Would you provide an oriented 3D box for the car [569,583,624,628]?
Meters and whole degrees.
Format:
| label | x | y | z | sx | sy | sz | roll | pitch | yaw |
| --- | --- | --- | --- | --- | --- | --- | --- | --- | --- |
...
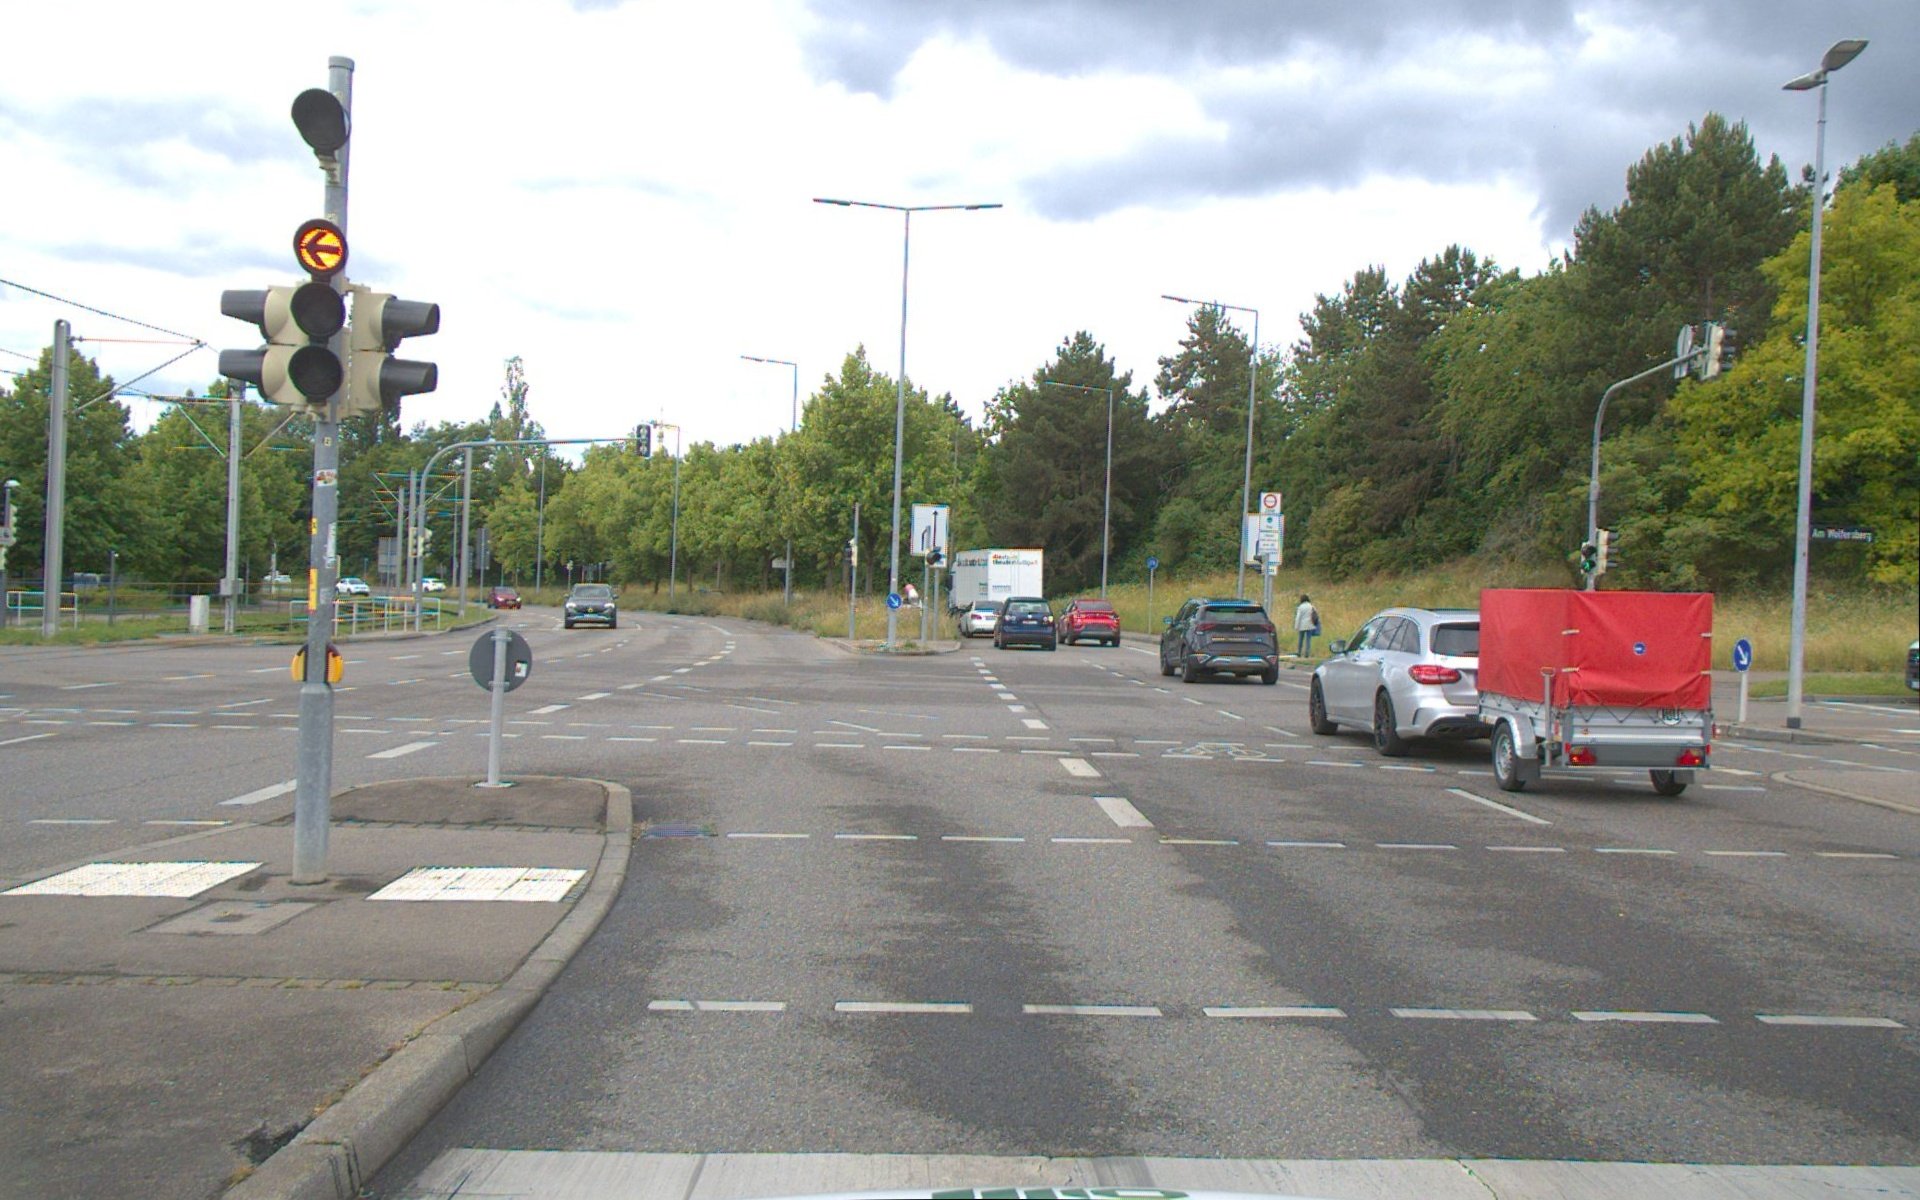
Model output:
| label | x | y | z | sx | sy | sz | roll | pitch | yaw |
| --- | --- | --- | --- | --- | --- | --- | --- | --- | --- |
| car | -13.265 | 0.170 | 60.465 | 1.745 | 1.573 | 4.215 | 1 | 0 | -10 |

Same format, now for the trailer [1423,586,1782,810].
| label | x | y | z | sx | sy | sz | roll | pitch | yaw |
| --- | --- | --- | --- | --- | --- | --- | --- | --- | --- |
| trailer | 5.211 | 0.722 | 13.832 | 1.729 | 1.644 | 3.043 | 1 | 0 | -2 |

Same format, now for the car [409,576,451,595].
| label | x | y | z | sx | sy | sz | roll | pitch | yaw |
| --- | --- | --- | --- | --- | --- | --- | --- | --- | --- |
| car | -51.639 | -1.407 | 161.059 | 3.922 | 1.780 | 1.991 | 1 | 0 | 38 |

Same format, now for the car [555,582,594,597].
| label | x | y | z | sx | sy | sz | roll | pitch | yaw |
| --- | --- | --- | --- | --- | --- | --- | --- | --- | --- |
| car | -41.041 | -1.106 | 176.211 | 1.744 | 1.573 | 4.018 | 1 | 0 | 29 |

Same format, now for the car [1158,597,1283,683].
| label | x | y | z | sx | sy | sz | roll | pitch | yaw |
| --- | --- | --- | --- | --- | --- | --- | --- | --- | --- |
| car | 5.177 | 0.757 | 33.382 | 1.742 | 1.573 | 4.023 | 1 | 0 | -2 |

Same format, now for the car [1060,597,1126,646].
| label | x | y | z | sx | sy | sz | roll | pitch | yaw |
| --- | --- | --- | --- | --- | --- | --- | --- | --- | --- |
| car | 4.583 | 0.723 | 57.575 | 1.742 | 1.573 | 4.022 | 1 | 0 | -3 |

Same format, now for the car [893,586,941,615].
| label | x | y | z | sx | sy | sz | roll | pitch | yaw |
| --- | --- | --- | --- | --- | --- | --- | --- | --- | --- |
| car | -2.471 | 0.020 | 93.403 | 1.749 | 1.573 | 4.007 | 1 | 0 | -16 |

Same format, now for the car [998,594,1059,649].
| label | x | y | z | sx | sy | sz | roll | pitch | yaw |
| --- | --- | --- | --- | --- | --- | --- | --- | --- | --- |
| car | 2.156 | 0.622 | 50.971 | 1.740 | 1.573 | 4.027 | 1 | 0 | 4 |

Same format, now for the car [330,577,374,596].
| label | x | y | z | sx | sy | sz | roll | pitch | yaw |
| --- | --- | --- | --- | --- | --- | --- | --- | --- | --- |
| car | -53.809 | -1.217 | 146.404 | 4.346 | 1.657 | 1.824 | 0 | 0 | 42 |

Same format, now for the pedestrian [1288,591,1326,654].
| label | x | y | z | sx | sy | sz | roll | pitch | yaw |
| --- | --- | --- | --- | --- | --- | --- | --- | --- | --- |
| pedestrian | 9.290 | 0.604 | 44.309 | 0.797 | 1.656 | 0.790 | 1 | 0 | -1 |

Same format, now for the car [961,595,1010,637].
| label | x | y | z | sx | sy | sz | roll | pitch | yaw |
| --- | --- | --- | --- | --- | --- | --- | --- | --- | --- |
| car | 0.997 | 0.605 | 66.430 | 1.742 | 1.573 | 4.023 | 1 | 0 | -2 |

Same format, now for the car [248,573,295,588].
| label | x | y | z | sx | sy | sz | roll | pitch | yaw |
| --- | --- | --- | --- | --- | --- | --- | --- | --- | --- |
| car | -72.123 | -2.077 | 173.283 | 4.418 | 1.471 | 1.788 | 1 | 2 | 18 |

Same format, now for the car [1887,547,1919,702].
| label | x | y | z | sx | sy | sz | roll | pitch | yaw |
| --- | --- | --- | --- | --- | --- | --- | --- | --- | --- |
| car | 20.335 | 0.466 | 30.085 | 5.772 | 2.830 | 2.135 | 0 | 0 | -1 |

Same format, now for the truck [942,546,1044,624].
| label | x | y | z | sx | sy | sz | roll | pitch | yaw |
| --- | --- | --- | --- | --- | --- | --- | --- | --- | --- |
| truck | 1.428 | -0.724 | 79.157 | 2.690 | 3.387 | 11.379 | 1 | 0 | -10 |

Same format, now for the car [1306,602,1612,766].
| label | x | y | z | sx | sy | sz | roll | pitch | yaw |
| --- | --- | --- | --- | --- | --- | --- | --- | --- | --- |
| car | 5.081 | 0.778 | 17.499 | 1.742 | 1.446 | 4.457 | 1 | 0 | -2 |

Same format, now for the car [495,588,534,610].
| label | x | y | z | sx | sy | sz | roll | pitch | yaw |
| --- | --- | --- | --- | --- | --- | --- | --- | --- | --- |
| car | -30.383 | -0.111 | 112.640 | 1.759 | 1.468 | 4.388 | 0 | 0 | -26 |
